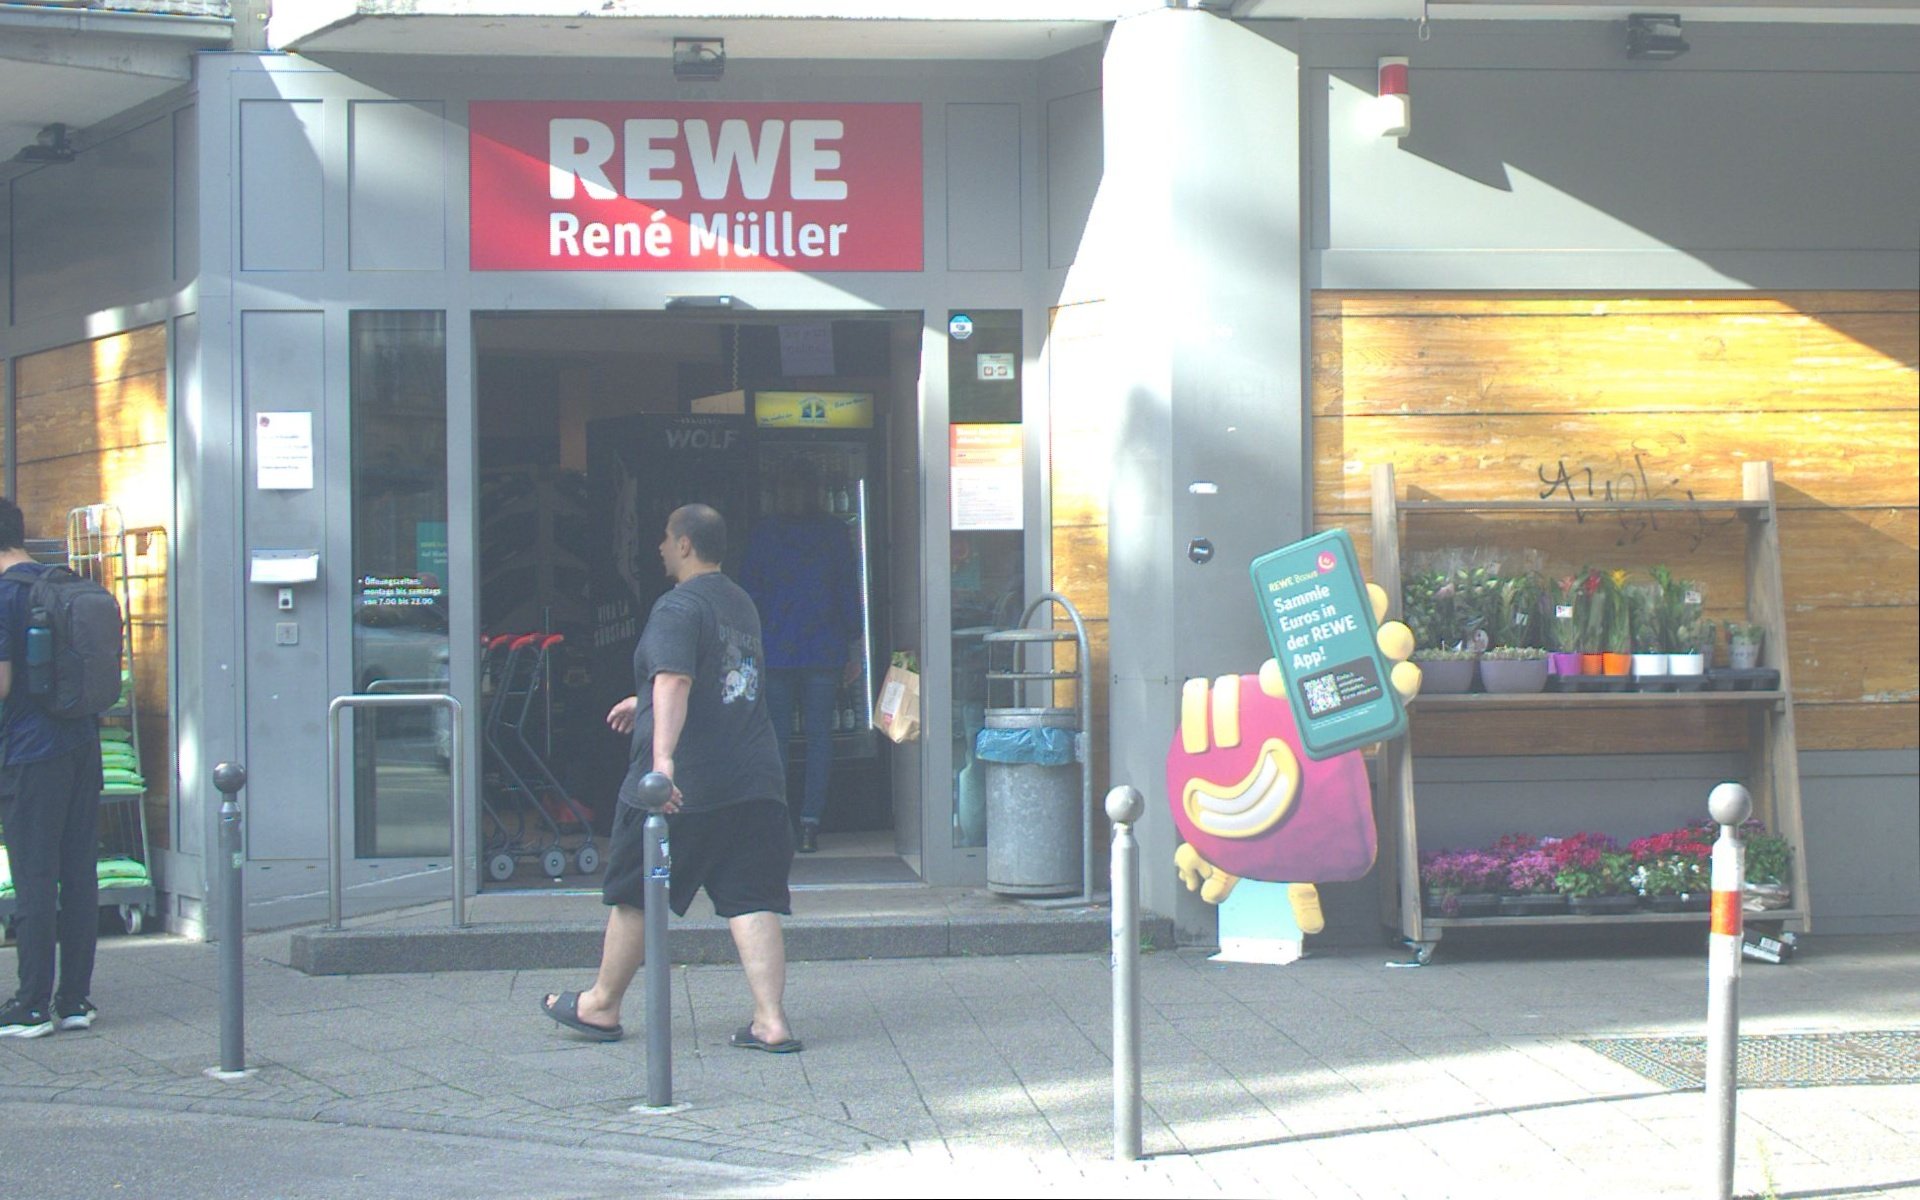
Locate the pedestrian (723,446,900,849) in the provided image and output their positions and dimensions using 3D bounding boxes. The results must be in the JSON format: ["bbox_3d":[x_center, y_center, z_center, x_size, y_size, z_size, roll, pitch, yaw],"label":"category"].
[{"bbox_3d":[-0.665,0.201,15.375,0.763,1.747,0.931,0,0,-3],"label":"pedestrian"}]

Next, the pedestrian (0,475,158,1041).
[{"bbox_3d":[-3.046,0.498,11.322,0.653,1.791,0.659,-3,3,-17],"label":"pedestrian"}]

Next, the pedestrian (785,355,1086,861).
[{"bbox_3d":[-0.087,0.020,14.184,1.031,2.006,0.863,0,2,14],"label":"pedestrian"}]

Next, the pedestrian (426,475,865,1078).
[{"bbox_3d":[-0.985,0.506,10.702,0.849,1.741,1.048,-4,2,-40],"label":"pedestrian"}]

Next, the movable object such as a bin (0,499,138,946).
[{"bbox_3d":[-4.195,0.475,14.500,0.779,1.738,2.423,-1,0,-29],"label":"movable object such as a bin"}]

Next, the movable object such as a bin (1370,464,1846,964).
[{"bbox_3d":[2.331,0.384,12.471,1.544,1.748,0.691,0,2,-8],"label":"movable object such as a bin"}]
